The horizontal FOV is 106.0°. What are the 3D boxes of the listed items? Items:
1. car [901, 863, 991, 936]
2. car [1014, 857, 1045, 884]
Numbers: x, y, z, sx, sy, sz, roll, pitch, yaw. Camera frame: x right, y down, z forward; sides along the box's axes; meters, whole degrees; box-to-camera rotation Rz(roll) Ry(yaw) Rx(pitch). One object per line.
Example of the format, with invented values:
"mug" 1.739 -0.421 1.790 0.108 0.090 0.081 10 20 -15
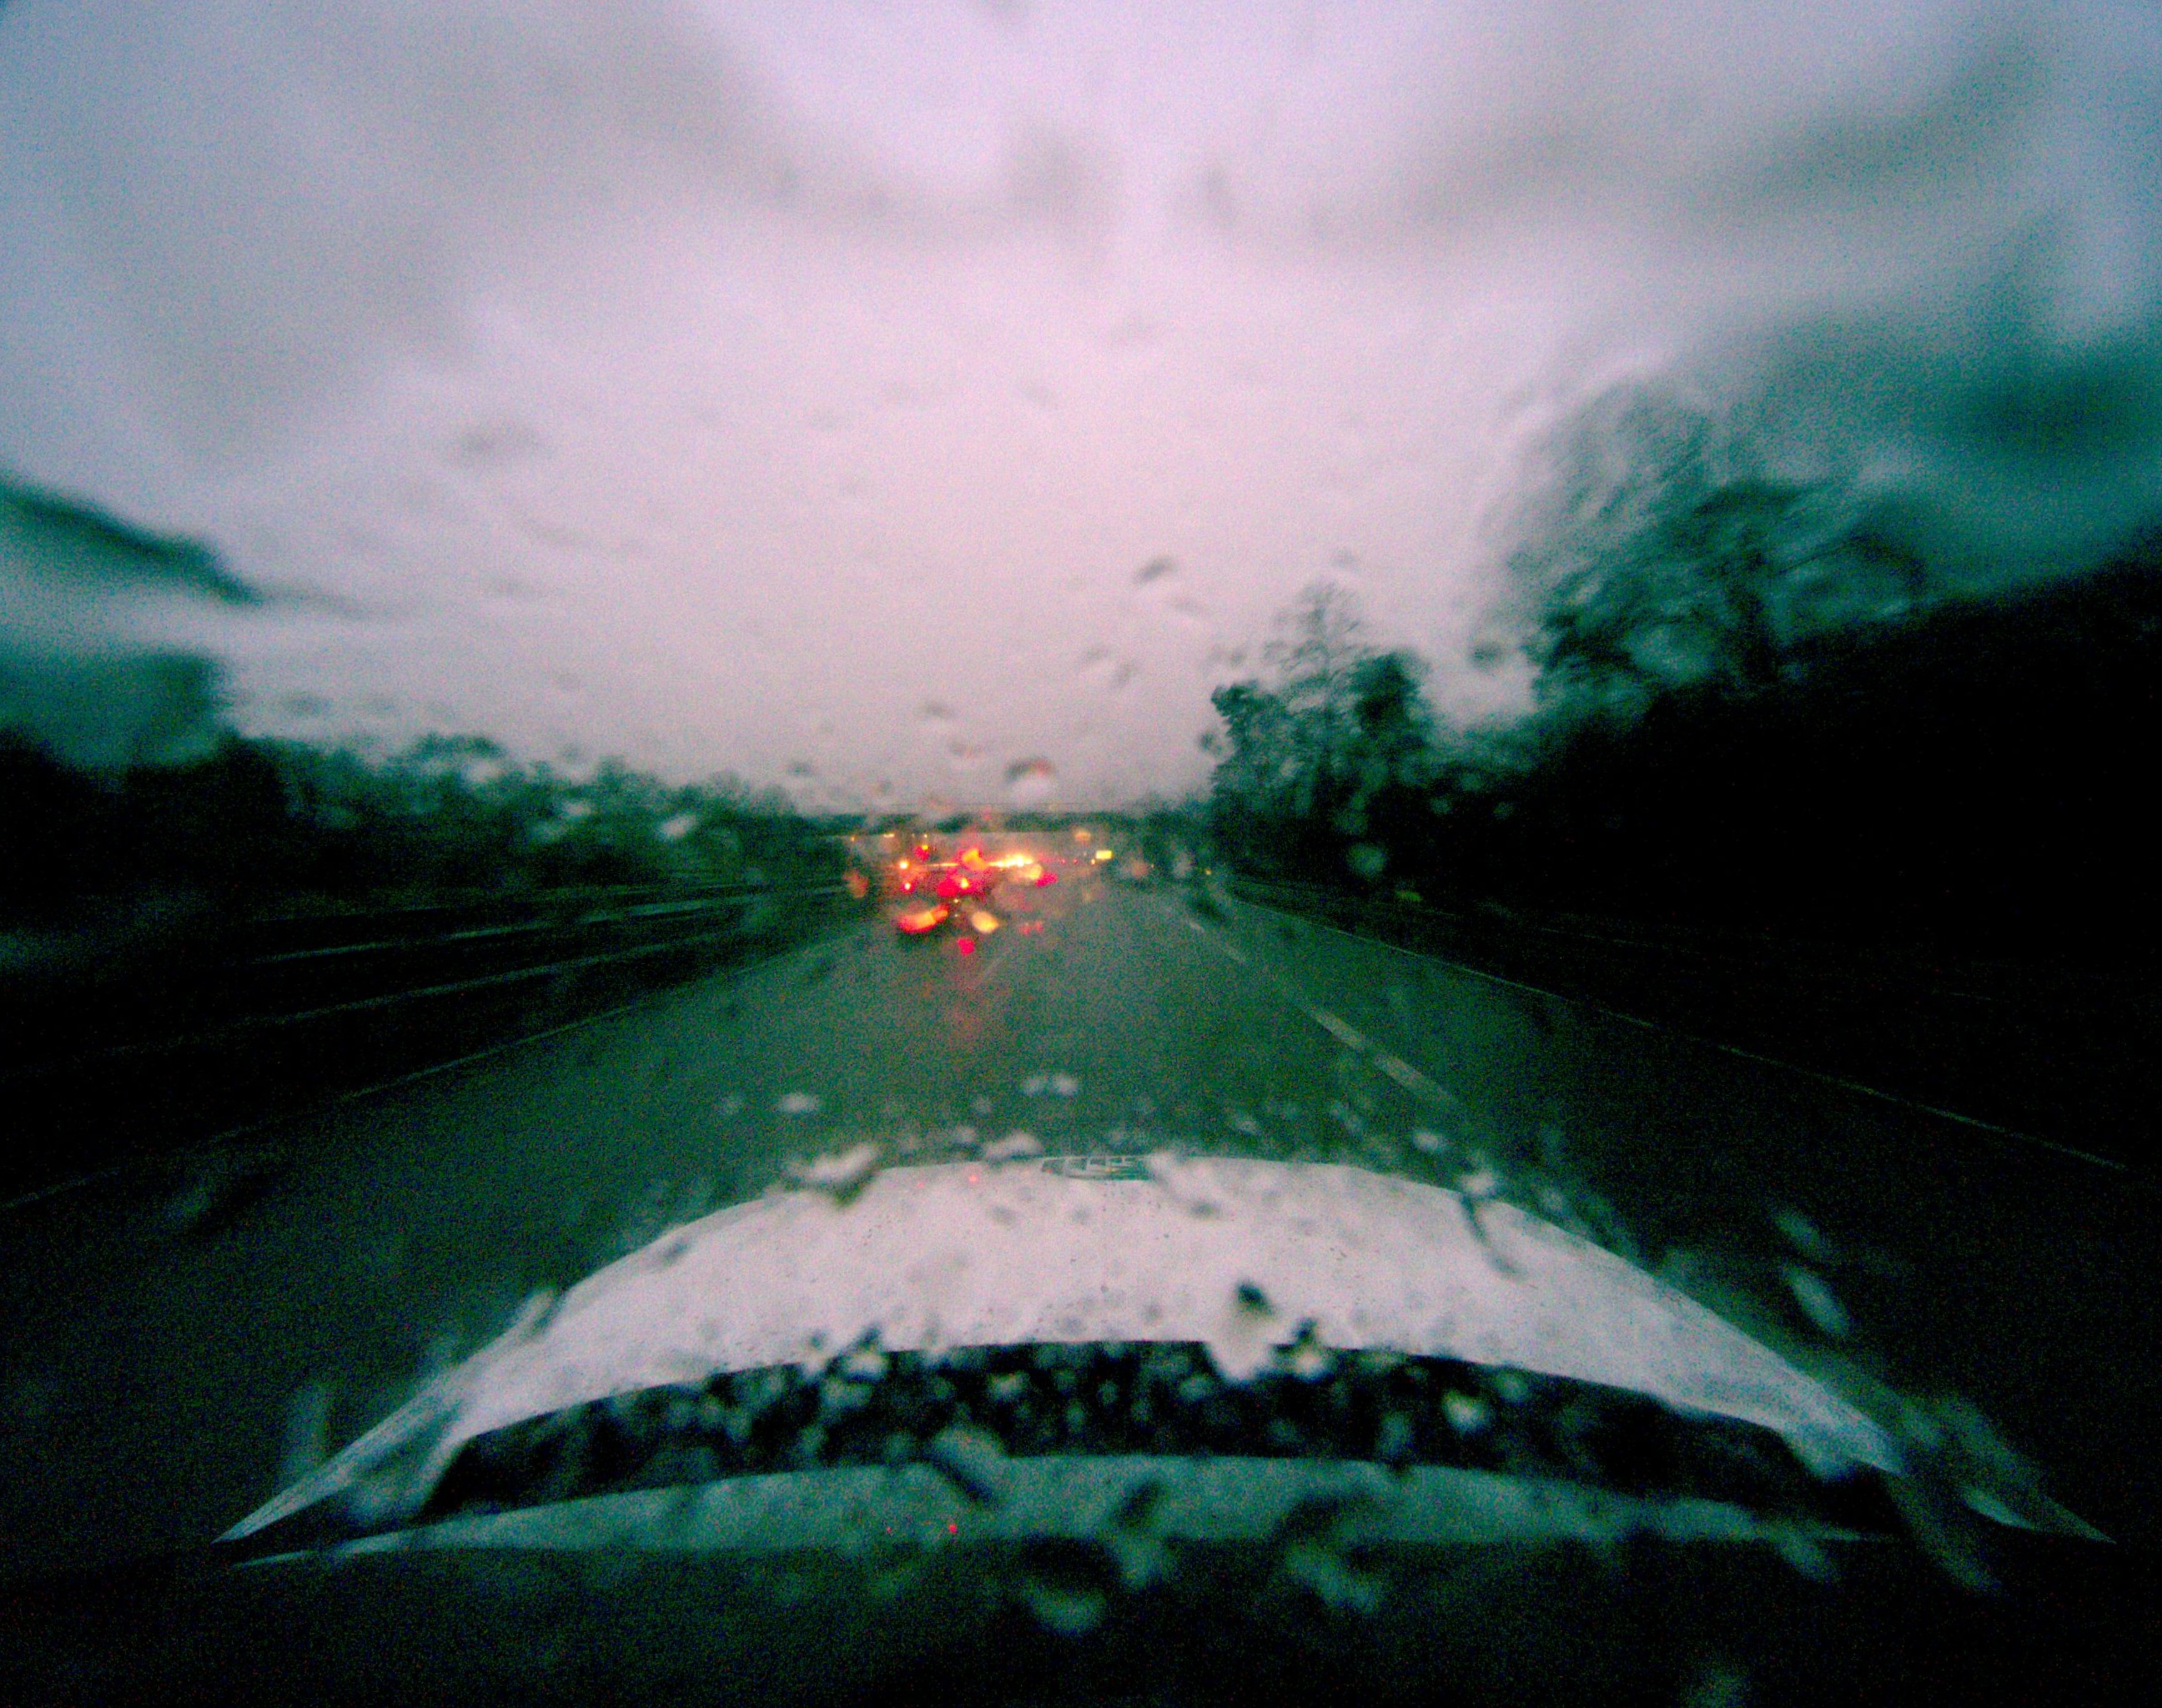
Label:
"car" -2.976 0.967 18.590 1.523 1.415 3.476 2 0 -2
"car" -3.126 1.010 50.263 1.771 1.534 4.698 -2 0 -2
